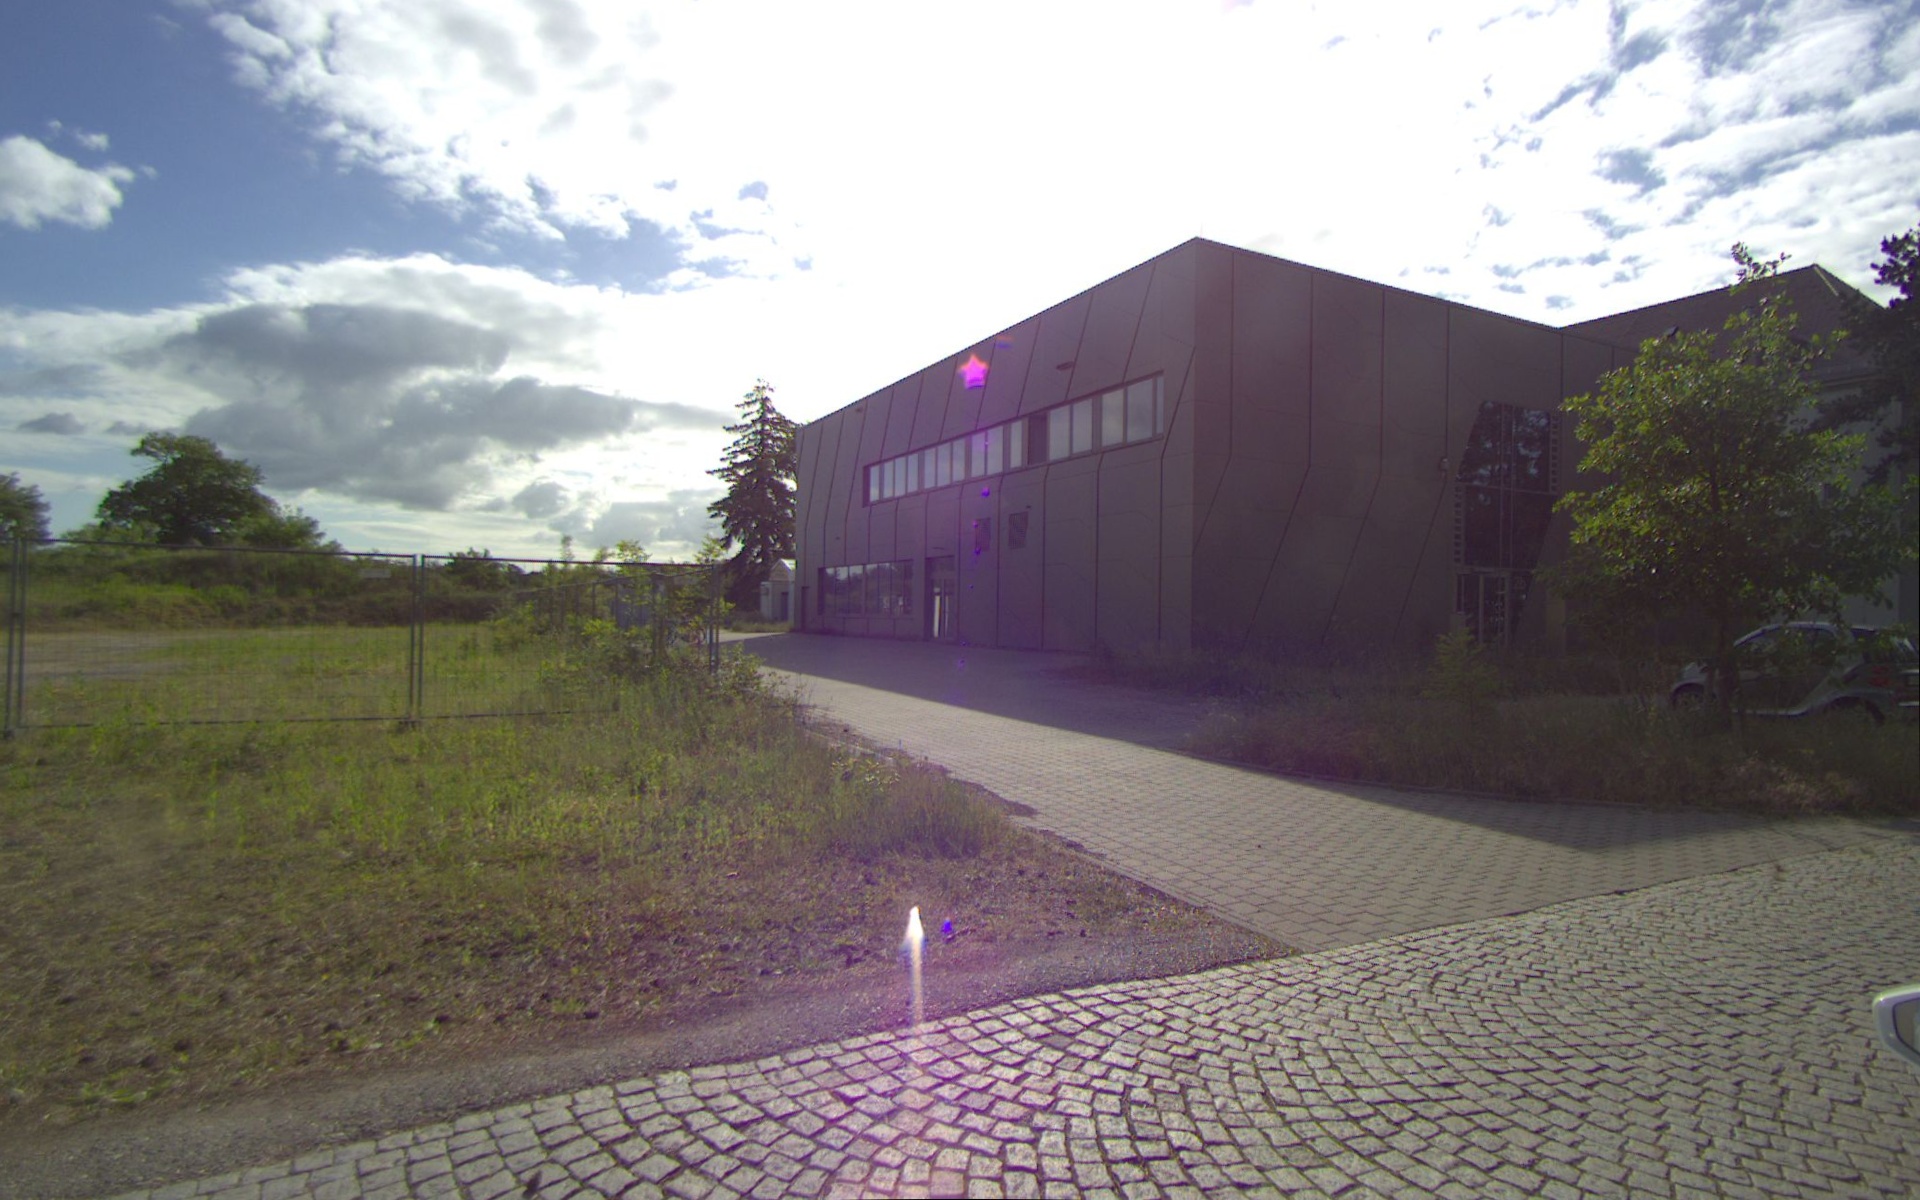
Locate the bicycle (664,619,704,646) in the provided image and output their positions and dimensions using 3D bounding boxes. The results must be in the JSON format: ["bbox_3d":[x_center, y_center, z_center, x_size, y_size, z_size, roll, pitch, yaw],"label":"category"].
[{"bbox_3d":[-9.900,1.165,36.039,1.339,0.912,0.515,-1,0,-25],"label":"bicycle"}]

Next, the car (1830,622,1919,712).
[{"bbox_3d":[17.932,1.231,17.218,1.661,1.484,4.236,-1,2,-30],"label":"car"}]

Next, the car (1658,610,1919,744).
[{"bbox_3d":[11.542,0.979,13.899,1.500,1.563,2.687,1,1,-28],"label":"car"}]
